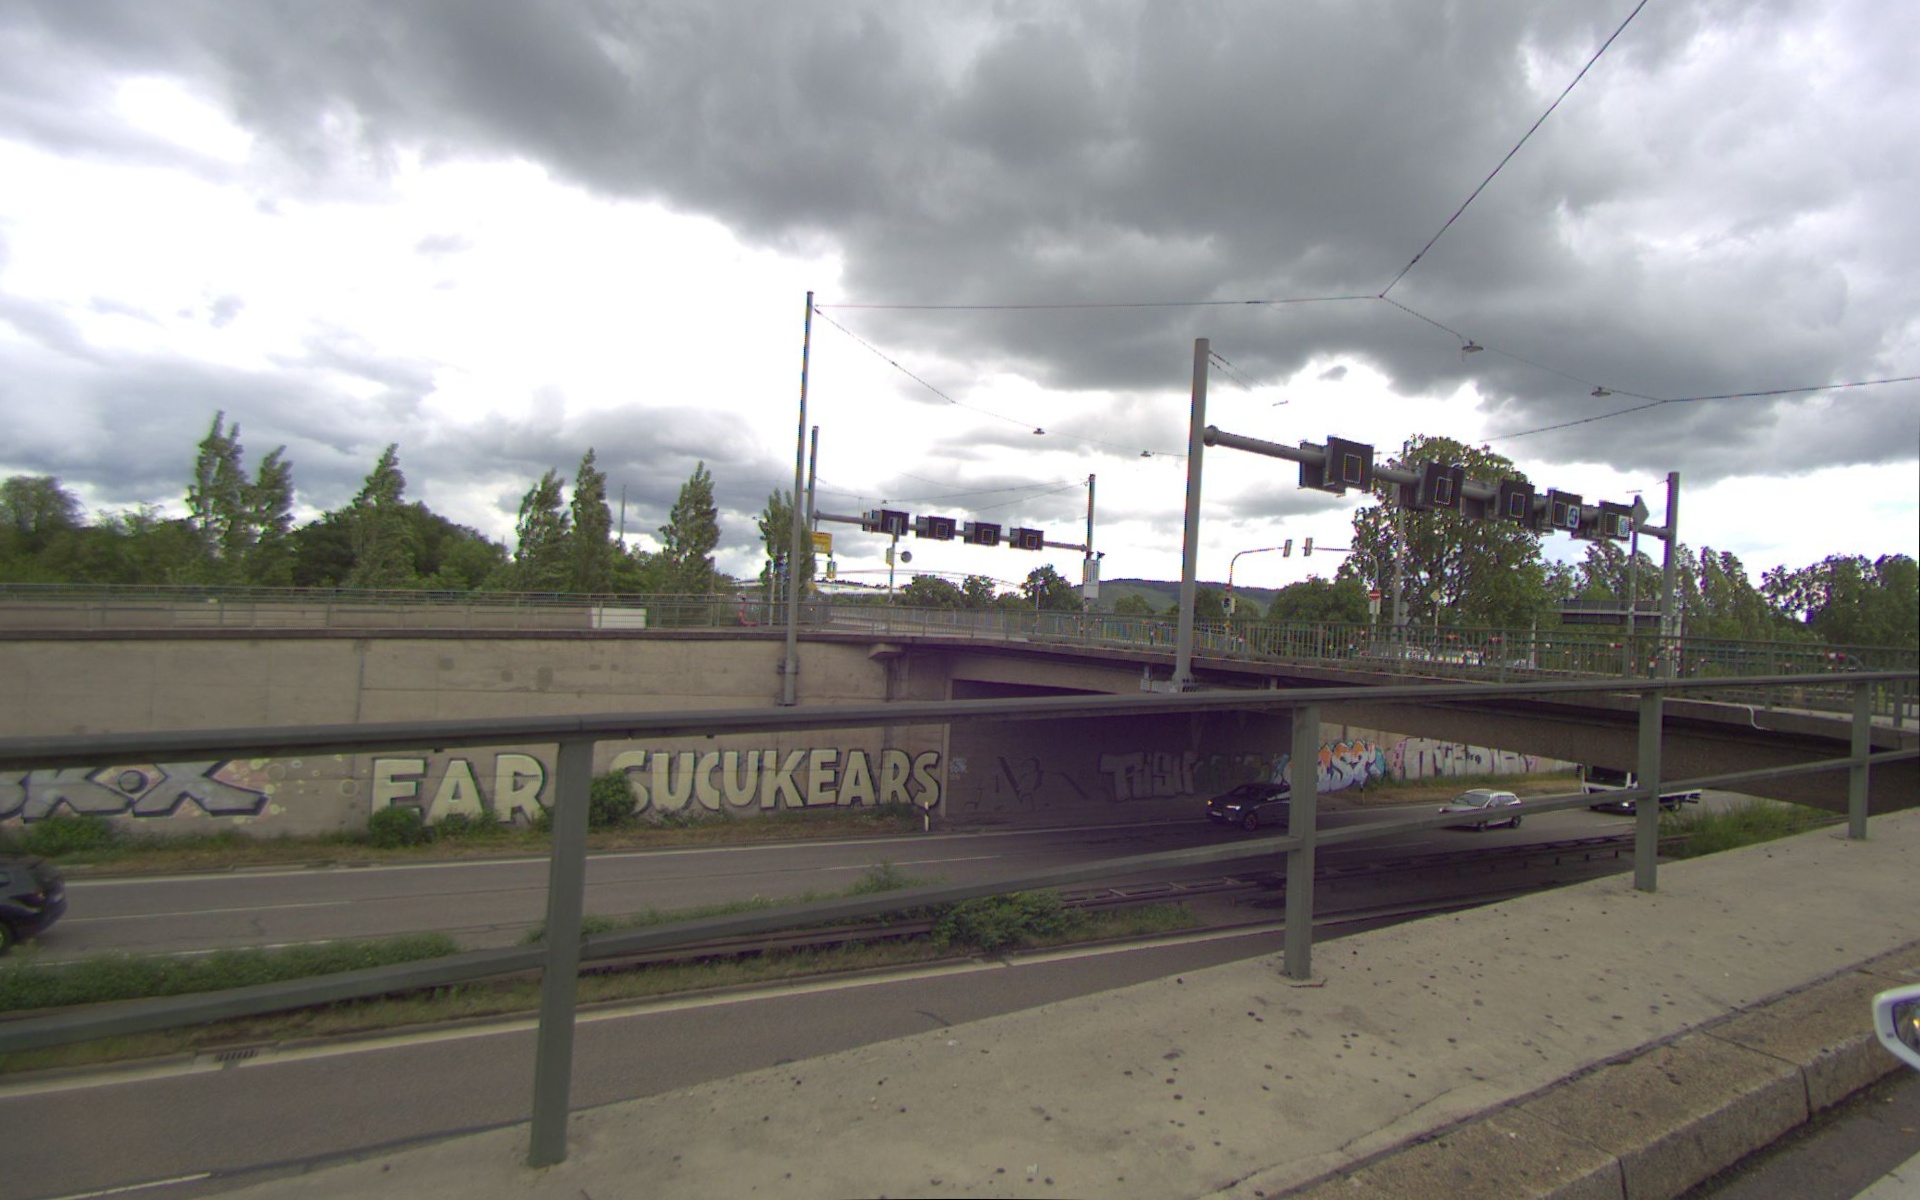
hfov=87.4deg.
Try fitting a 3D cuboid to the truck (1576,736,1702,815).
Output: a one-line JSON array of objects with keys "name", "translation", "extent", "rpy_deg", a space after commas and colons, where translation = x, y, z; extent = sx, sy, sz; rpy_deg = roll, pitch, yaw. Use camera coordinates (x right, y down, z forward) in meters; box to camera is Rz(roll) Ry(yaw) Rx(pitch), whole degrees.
[{"name": "truck", "translation": [34.832, 8.849, 51.408], "extent": [8.047, 3.506, 2.498], "rpy_deg": [5, -3, -34]}]

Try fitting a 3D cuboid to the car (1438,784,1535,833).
[{"name": "car", "translation": [22.609, 8.905, 43.110], "extent": [4.444, 1.632, 1.671], "rpy_deg": [4, -3, -32]}]

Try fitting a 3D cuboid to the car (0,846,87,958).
[{"name": "car", "translation": [-18.629, 5.538, 18.141], "extent": [3.954, 1.641, 1.657], "rpy_deg": [4, -4, -30]}]

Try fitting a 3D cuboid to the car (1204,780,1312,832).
[{"name": "car", "translation": [11.980, 8.229, 40.328], "extent": [4.206, 1.692, 1.703], "rpy_deg": [5, -3, -30]}]
